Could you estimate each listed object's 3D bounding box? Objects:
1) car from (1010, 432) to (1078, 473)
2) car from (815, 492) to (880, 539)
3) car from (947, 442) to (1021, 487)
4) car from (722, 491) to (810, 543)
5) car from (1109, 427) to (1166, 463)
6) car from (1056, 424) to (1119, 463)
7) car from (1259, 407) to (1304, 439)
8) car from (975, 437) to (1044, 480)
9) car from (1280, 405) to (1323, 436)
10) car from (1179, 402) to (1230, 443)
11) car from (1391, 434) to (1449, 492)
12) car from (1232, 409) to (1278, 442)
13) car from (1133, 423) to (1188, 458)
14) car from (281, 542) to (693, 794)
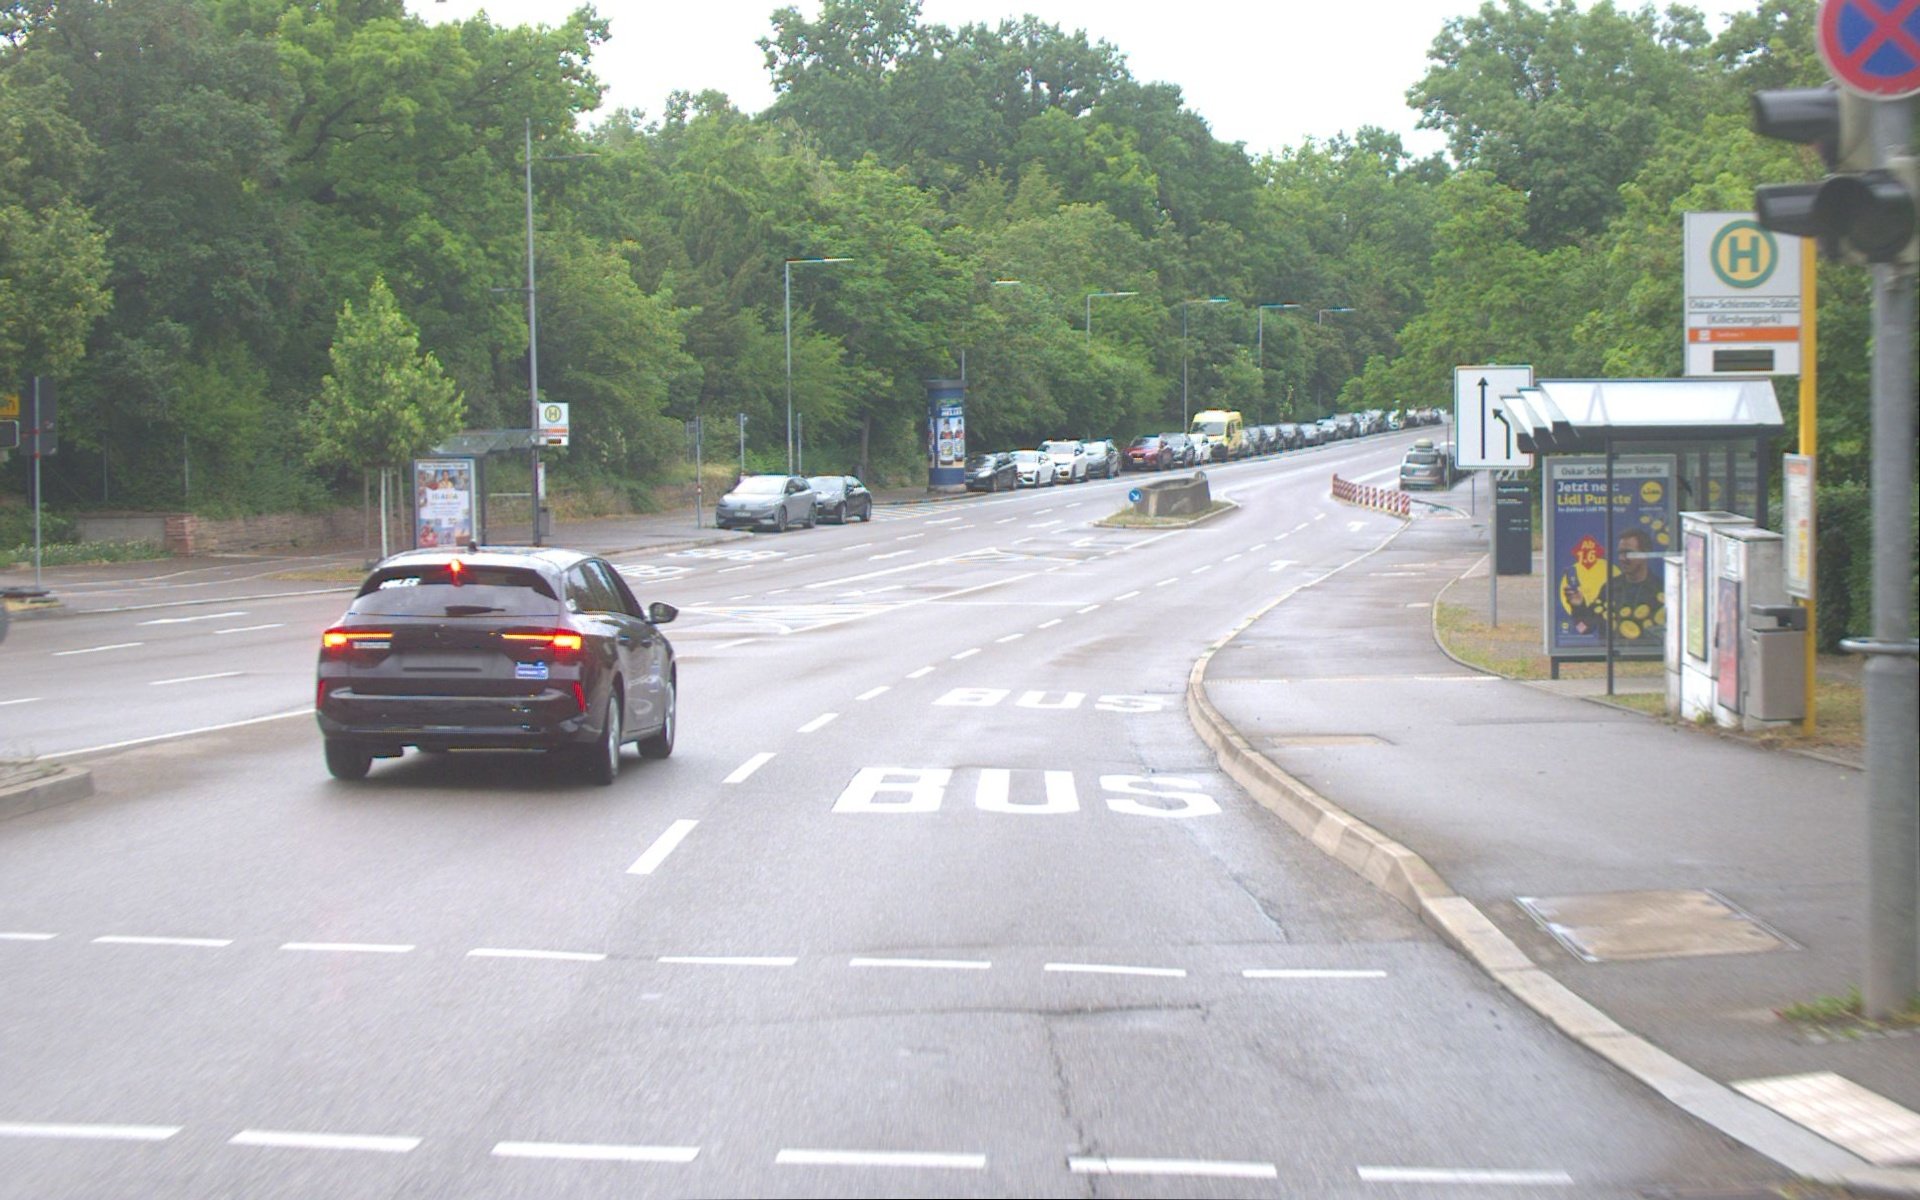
[{"bbox_3d":[3.495,-6.113,142.192,1.957,1.480,3.999,2,6,14],"label":"car"},{"bbox_3d":[-3.386,-2.558,103.880,1.417,1.419,3.121,0,1,9],"label":"car"},{"bbox_3d":[0.947,-5.237,132.518,1.957,1.480,3.999,2,6,14],"label":"car"},{"bbox_3d":[-5.504,-2.365,97.857,1.713,1.455,3.749,0,1,9],"label":"car"},{"bbox_3d":[8.421,-7.348,162.841,1.957,1.480,3.999,2,6,14],"label":"car"},{"bbox_3d":[5.609,-6.862,150.474,1.957,1.480,3.999,2,6,14],"label":"car"},{"bbox_3d":[18.659,-10.278,199.533,1.957,1.647,3.999,2,6,14],"label":"car"},{"bbox_3d":[1.982,-5.680,137.363,1.860,1.480,3.999,2,6,14],"label":"car"},{"bbox_3d":[20.298,-10.645,204.071,1.957,1.647,3.999,2,6,14],"label":"car"},{"bbox_3d":[12.827,-9.342,180.419,1.957,1.930,3.999,2,6,14],"label":"car"},{"bbox_3d":[18.425,-5.499,137.534,1.994,2.070,3.999,2,5,11],"label":"car"},{"bbox_3d":[16.657,-9.857,193.786,1.957,1.647,3.999,2,6,14],"label":"car"},{"bbox_3d":[9.813,-7.817,168.032,1.957,1.480,3.999,2,6,14],"label":"car"},{"bbox_3d":[-2.941,0.364,22.343,1.800,1.426,4.519,1,1,3],"label":"car"}]
